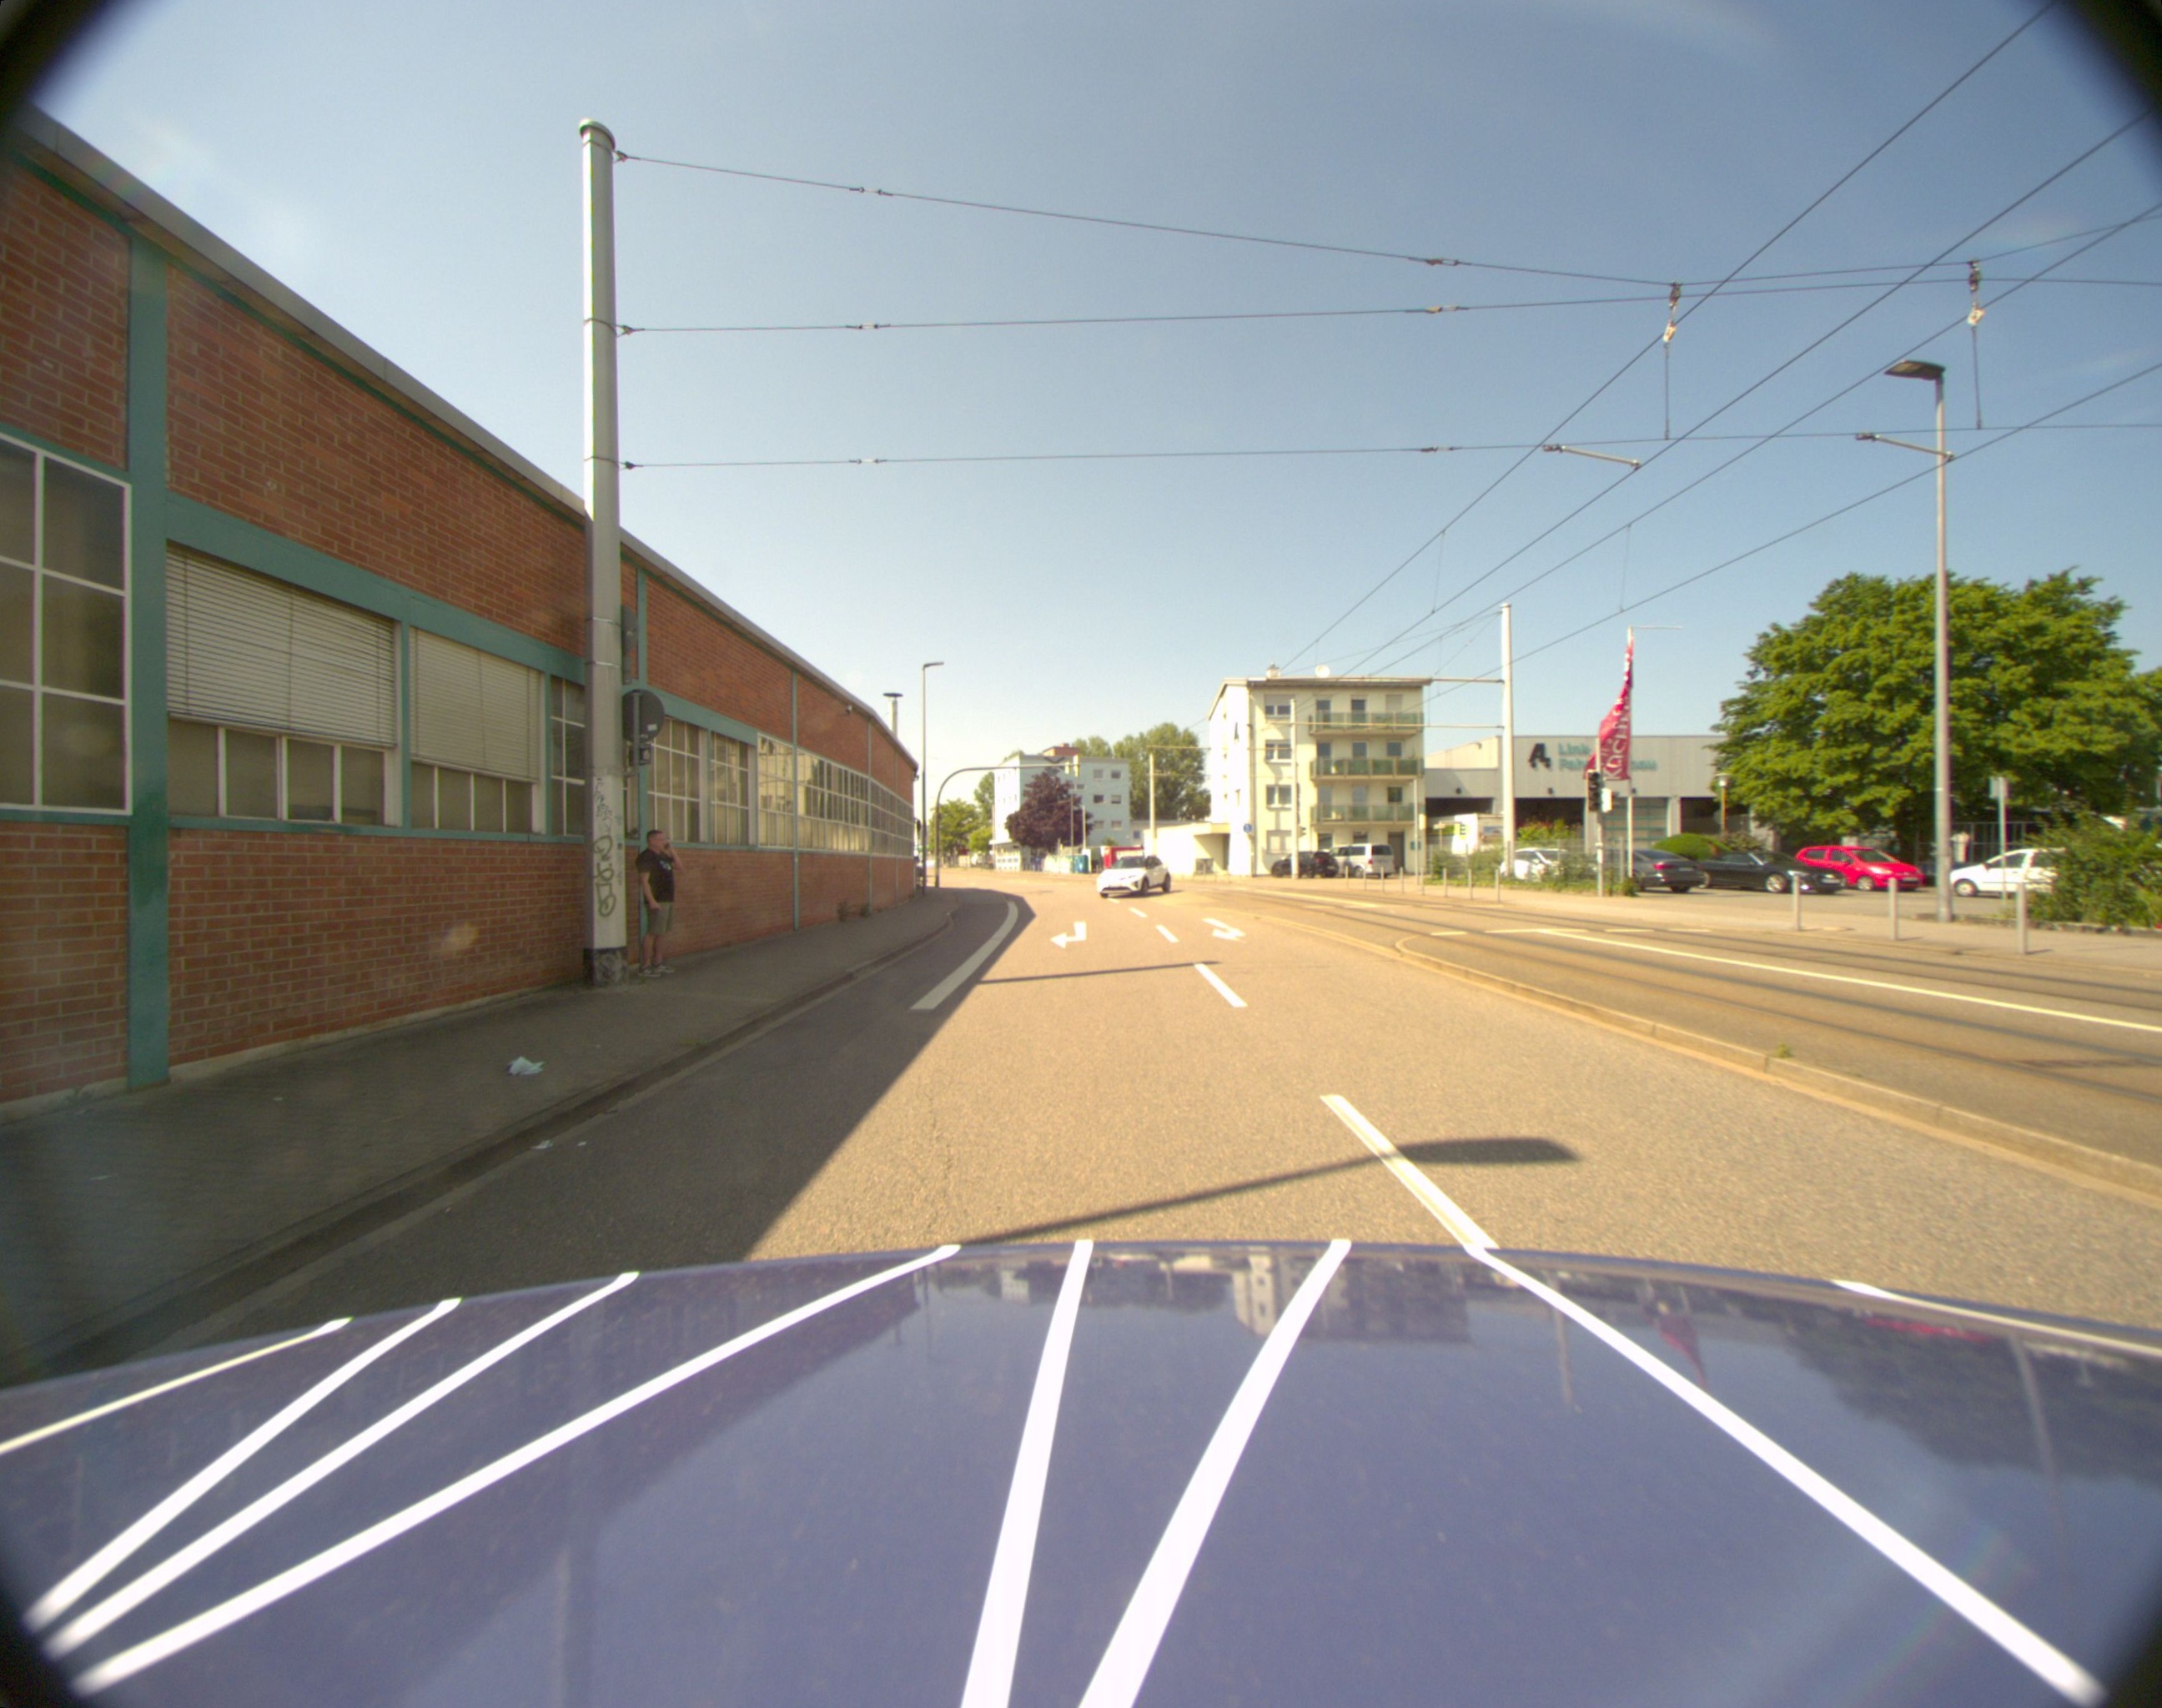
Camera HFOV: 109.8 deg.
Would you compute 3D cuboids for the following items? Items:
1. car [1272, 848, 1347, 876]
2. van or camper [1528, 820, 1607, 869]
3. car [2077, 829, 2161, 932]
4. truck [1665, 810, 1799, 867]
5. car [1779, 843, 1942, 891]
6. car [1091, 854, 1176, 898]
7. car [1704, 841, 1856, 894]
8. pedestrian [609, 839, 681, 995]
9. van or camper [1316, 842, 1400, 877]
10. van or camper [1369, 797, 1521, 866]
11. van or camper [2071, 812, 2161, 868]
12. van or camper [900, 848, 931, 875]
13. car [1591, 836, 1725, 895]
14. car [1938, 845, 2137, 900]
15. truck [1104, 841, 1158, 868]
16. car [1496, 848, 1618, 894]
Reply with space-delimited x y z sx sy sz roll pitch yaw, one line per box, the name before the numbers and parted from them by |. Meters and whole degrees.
car | 13.006 0.469 43.416 1.883 1.512 3.965 -1 0 -27
van or camper | 33.676 -0.605 52.785 1.999 3.186 5.058 -1 -1 -4
car | 16.930 0.383 10.435 1.739 1.532 3.838 -1 0 7
truck | 45.527 -1.027 53.539 2.623 3.760 7.860 0 0 -1
car | 27.750 0.438 27.249 1.856 1.583 3.836 -1 0 -1
car | 2.077 0.784 28.908 1.733 1.521 4.117 -1 0 27
car | 23.116 0.410 25.356 1.854 1.612 3.838 0 0 7
pedestrian | -5.136 0.726 8.980 0.449 1.754 0.686 -1 -2 -1
van or camper | 15.785 0.268 43.538 2.002 1.897 4.547 0 0 -22
van or camper | 23.397 -1.260 50.049 2.781 3.669 11.633 -1 -2 -9
van or camper | 40.038 -0.523 27.757 1.997 1.996 4.646 -1 0 6
van or camper | -16.161 0.748 73.943 2.046 2.519 5.859 -1 0 -20
car | 18.946 0.443 25.188 1.767 1.610 3.842 -2 -5 7
car | 27.892 0.504 22.319 1.517 1.476 3.388 -1 0 -3
truck | 4.991 0.060 76.130 4.836 2.611 2.186 -1 0 -15
car | 16.324 0.539 26.303 1.712 1.425 3.954 -2 1 0
